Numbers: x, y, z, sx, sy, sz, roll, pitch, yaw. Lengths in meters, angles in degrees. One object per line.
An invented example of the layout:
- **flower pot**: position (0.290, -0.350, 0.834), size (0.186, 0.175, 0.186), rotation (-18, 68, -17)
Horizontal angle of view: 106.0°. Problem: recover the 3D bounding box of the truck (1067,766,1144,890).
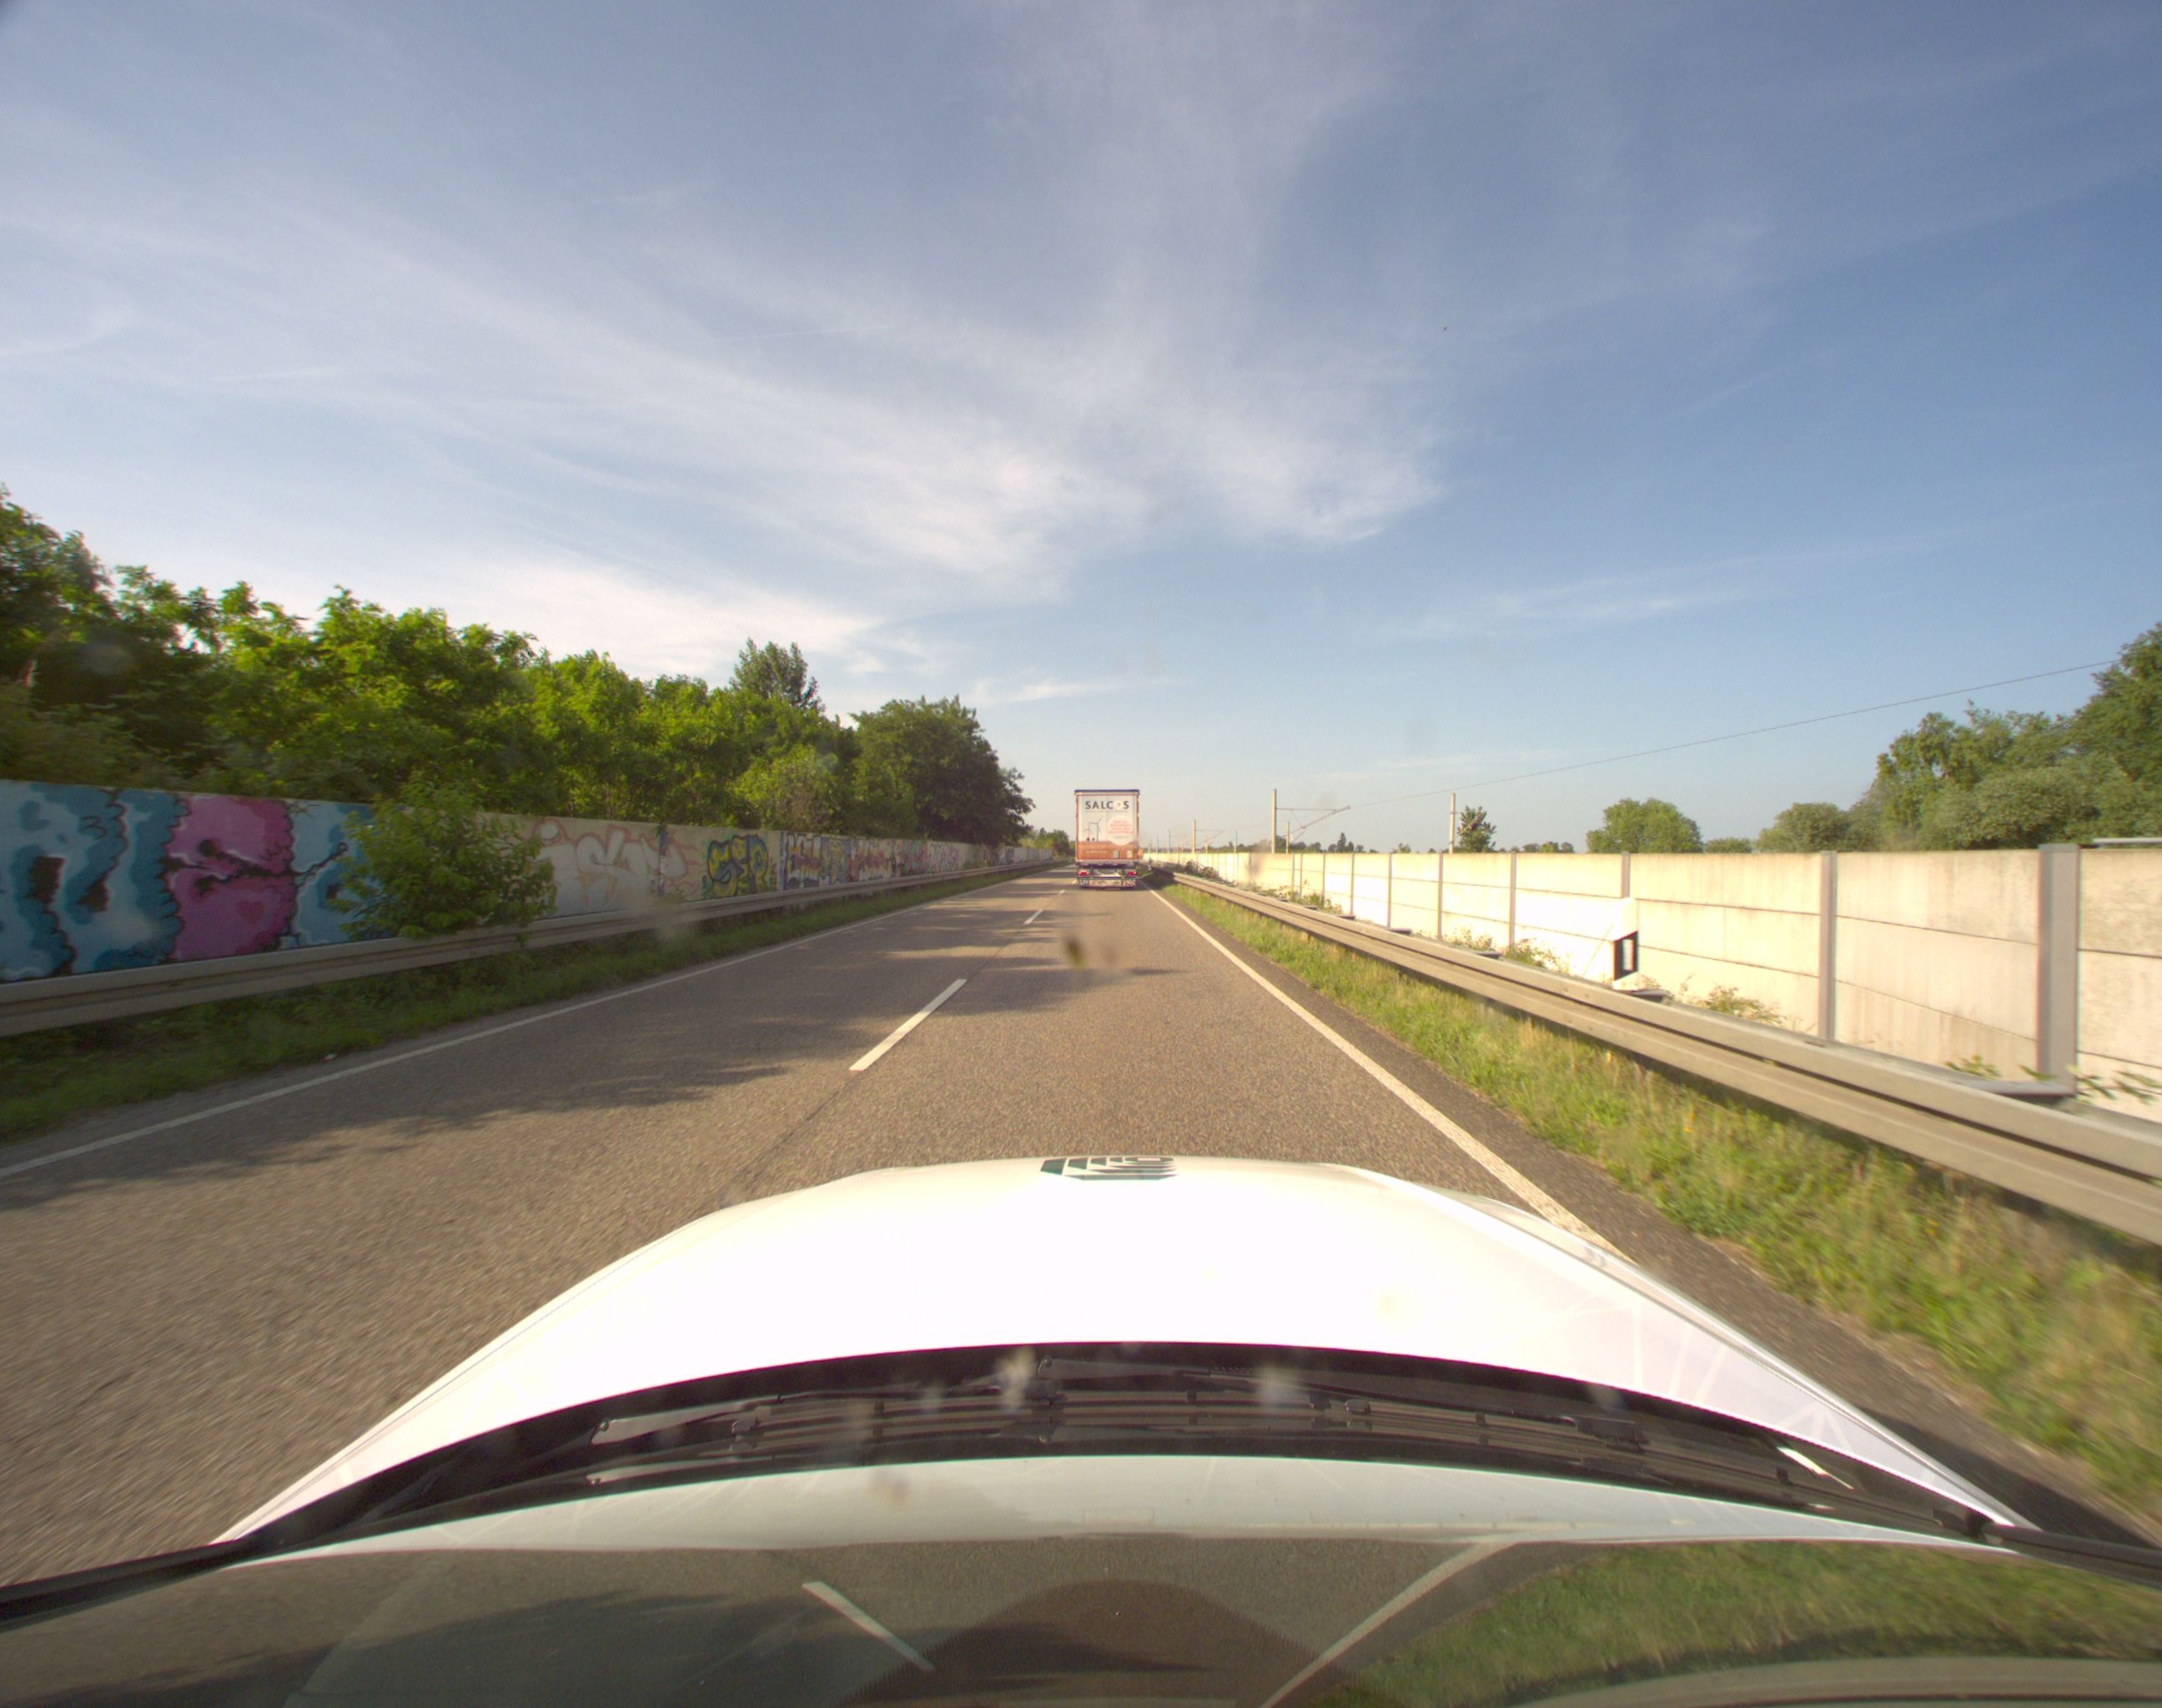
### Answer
- **truck**: position (1.020, -1.080, 38.395), size (3.023, 4.920, 11.684), rotation (-1, 0, 0)
